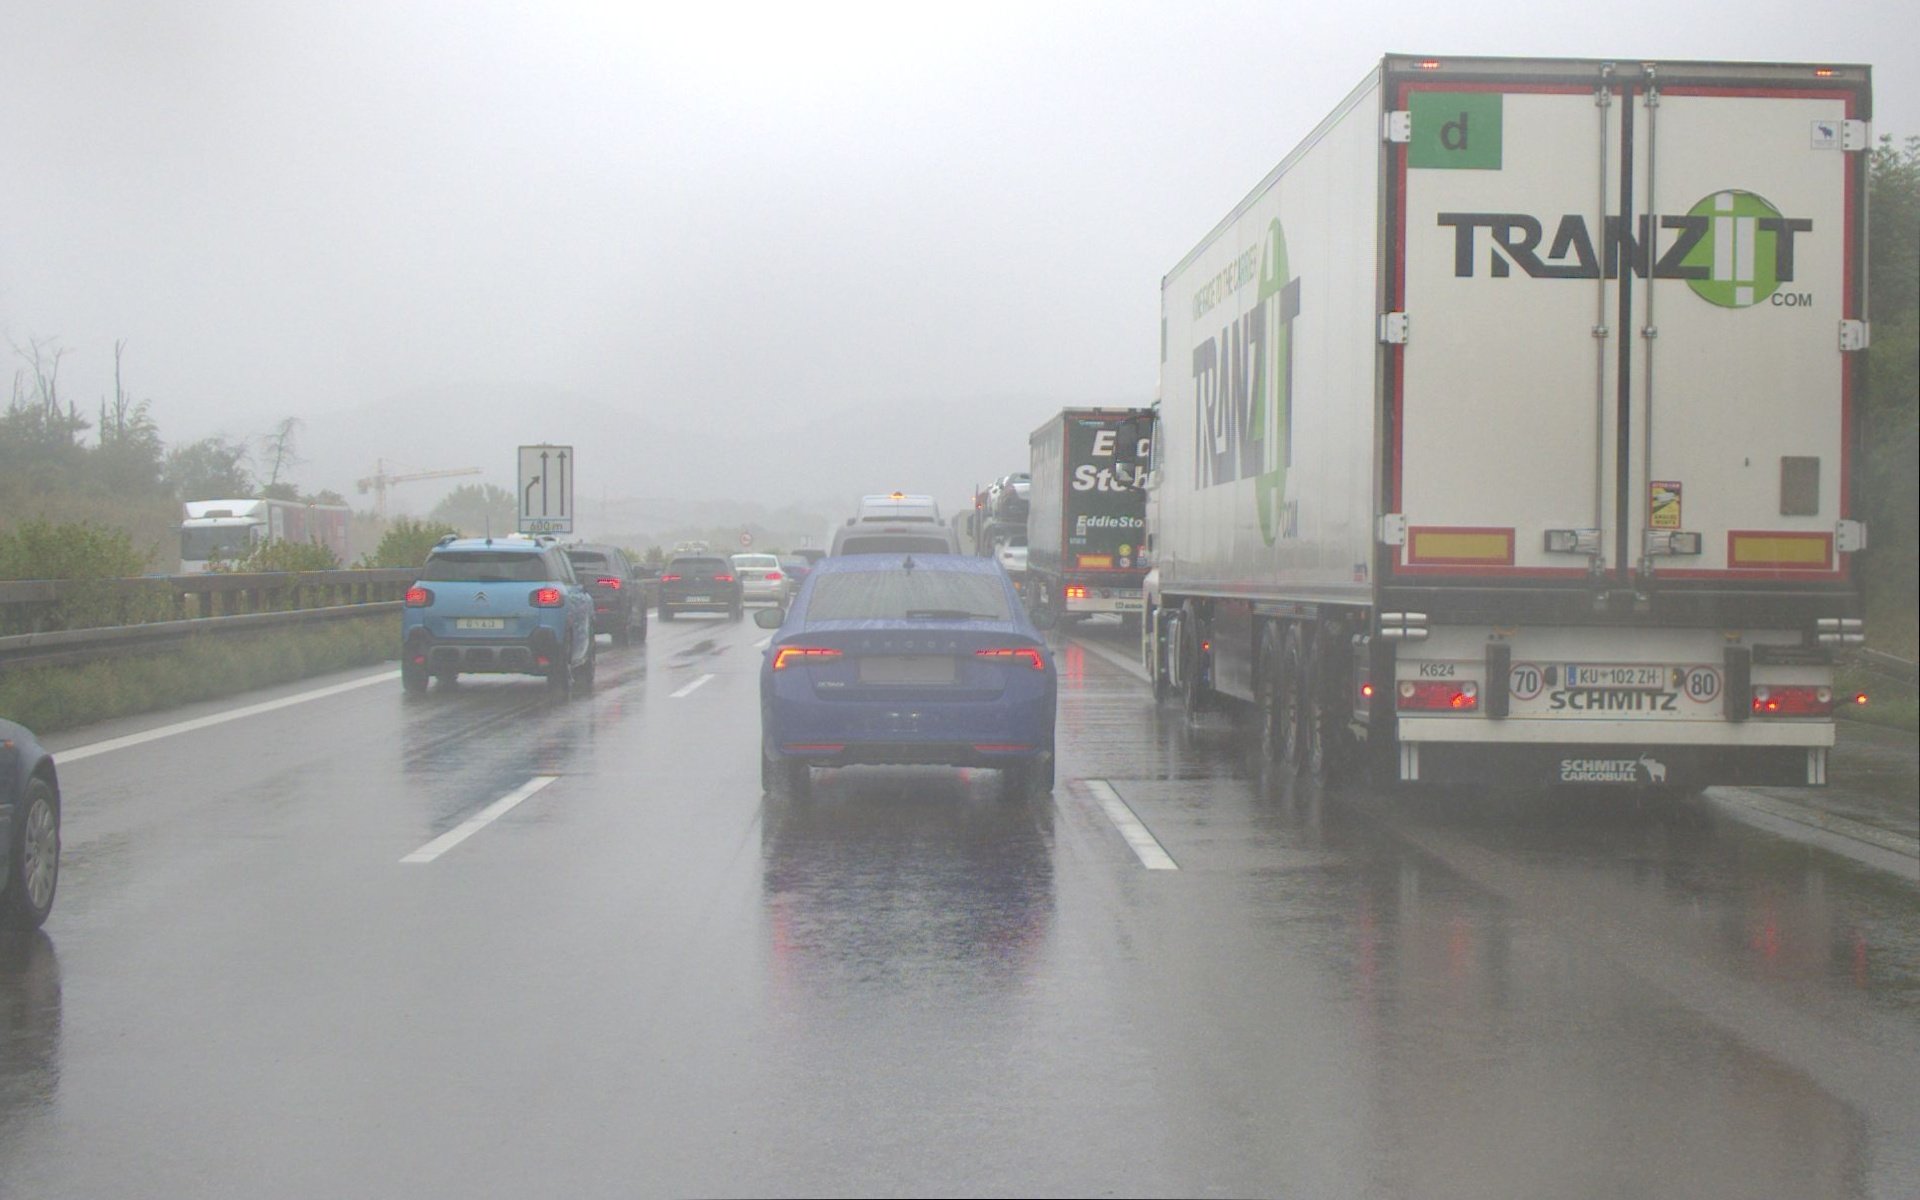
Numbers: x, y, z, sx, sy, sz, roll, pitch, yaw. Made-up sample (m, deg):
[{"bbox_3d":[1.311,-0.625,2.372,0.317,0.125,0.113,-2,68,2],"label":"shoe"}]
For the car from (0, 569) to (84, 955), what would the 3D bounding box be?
[{"bbox_3d":[-4.358,0.602,11.557,1.718,1.395,4.230,0,1,0],"label":"car"}]

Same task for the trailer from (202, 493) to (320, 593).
[{"bbox_3d":[-22.299,-1.828,110.113,1.993,3.071,9.556,0,1,-1],"label":"trailer"}]

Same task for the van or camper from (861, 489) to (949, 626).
[{"bbox_3d":[-1.176,-0.921,73.024,1.797,2.797,4.768,0,1,-1],"label":"van or camper"}]

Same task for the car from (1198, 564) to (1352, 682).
[{"bbox_3d":[3.630,0.238,40.048,1.423,1.284,3.461,0,1,-1],"label":"car"}]

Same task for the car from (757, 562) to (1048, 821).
[{"bbox_3d":[-0.332,0.496,21.424,1.635,1.440,4.000,0,1,0],"label":"car"}]

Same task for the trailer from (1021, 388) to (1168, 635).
[{"bbox_3d":[2.368,-1.602,63.690,2.047,4.162,11.449,0,1,-1],"label":"trailer"}]

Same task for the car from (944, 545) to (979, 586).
[{"bbox_3d":[0.054,-1.524,151.585,1.448,1.777,3.409,1,1,-1],"label":"car"}]

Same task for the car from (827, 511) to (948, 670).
[{"bbox_3d":[-0.838,-0.139,40.069,1.336,1.774,3.322,0,1,-1],"label":"car"}]

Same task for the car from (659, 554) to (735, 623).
[{"bbox_3d":[-5.652,-0.266,74.180,1.439,1.415,3.322,0,1,-1],"label":"car"}]

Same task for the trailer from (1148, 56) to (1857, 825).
[{"bbox_3d":[3.235,-0.969,25.272,2.630,3.999,14.630,0,1,-1],"label":"trailer"}]

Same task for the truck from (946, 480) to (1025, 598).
[{"bbox_3d":[0.736,-1.878,103.576,1.993,3.410,8.033,0,1,-2],"label":"truck"}]

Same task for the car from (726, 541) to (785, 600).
[{"bbox_3d":[-5.439,-0.809,91.750,1.439,1.528,3.322,0,1,-1],"label":"car"}]

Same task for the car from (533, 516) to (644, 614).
[{"bbox_3d":[-5.604,-0.547,52.146,1.359,1.426,3.364,0,1,-1],"label":"car"}]

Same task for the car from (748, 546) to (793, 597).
[{"bbox_3d":[-6.784,-1.015,123.311,1.448,1.777,3.409,1,1,-1],"label":"car"}]

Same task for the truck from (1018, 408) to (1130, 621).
[{"bbox_3d":[2.280,-1.724,69.625,2.047,4.178,4.000,0,1,-1],"label":"truck"}]

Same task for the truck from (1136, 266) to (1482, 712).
[{"bbox_3d":[3.119,-0.995,31.911,2.630,3.814,4.791,0,1,-1],"label":"truck"}]

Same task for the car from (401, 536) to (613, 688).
[{"bbox_3d":[-4.746,0.096,36.502,1.721,1.518,4.000,0,1,0],"label":"car"}]
